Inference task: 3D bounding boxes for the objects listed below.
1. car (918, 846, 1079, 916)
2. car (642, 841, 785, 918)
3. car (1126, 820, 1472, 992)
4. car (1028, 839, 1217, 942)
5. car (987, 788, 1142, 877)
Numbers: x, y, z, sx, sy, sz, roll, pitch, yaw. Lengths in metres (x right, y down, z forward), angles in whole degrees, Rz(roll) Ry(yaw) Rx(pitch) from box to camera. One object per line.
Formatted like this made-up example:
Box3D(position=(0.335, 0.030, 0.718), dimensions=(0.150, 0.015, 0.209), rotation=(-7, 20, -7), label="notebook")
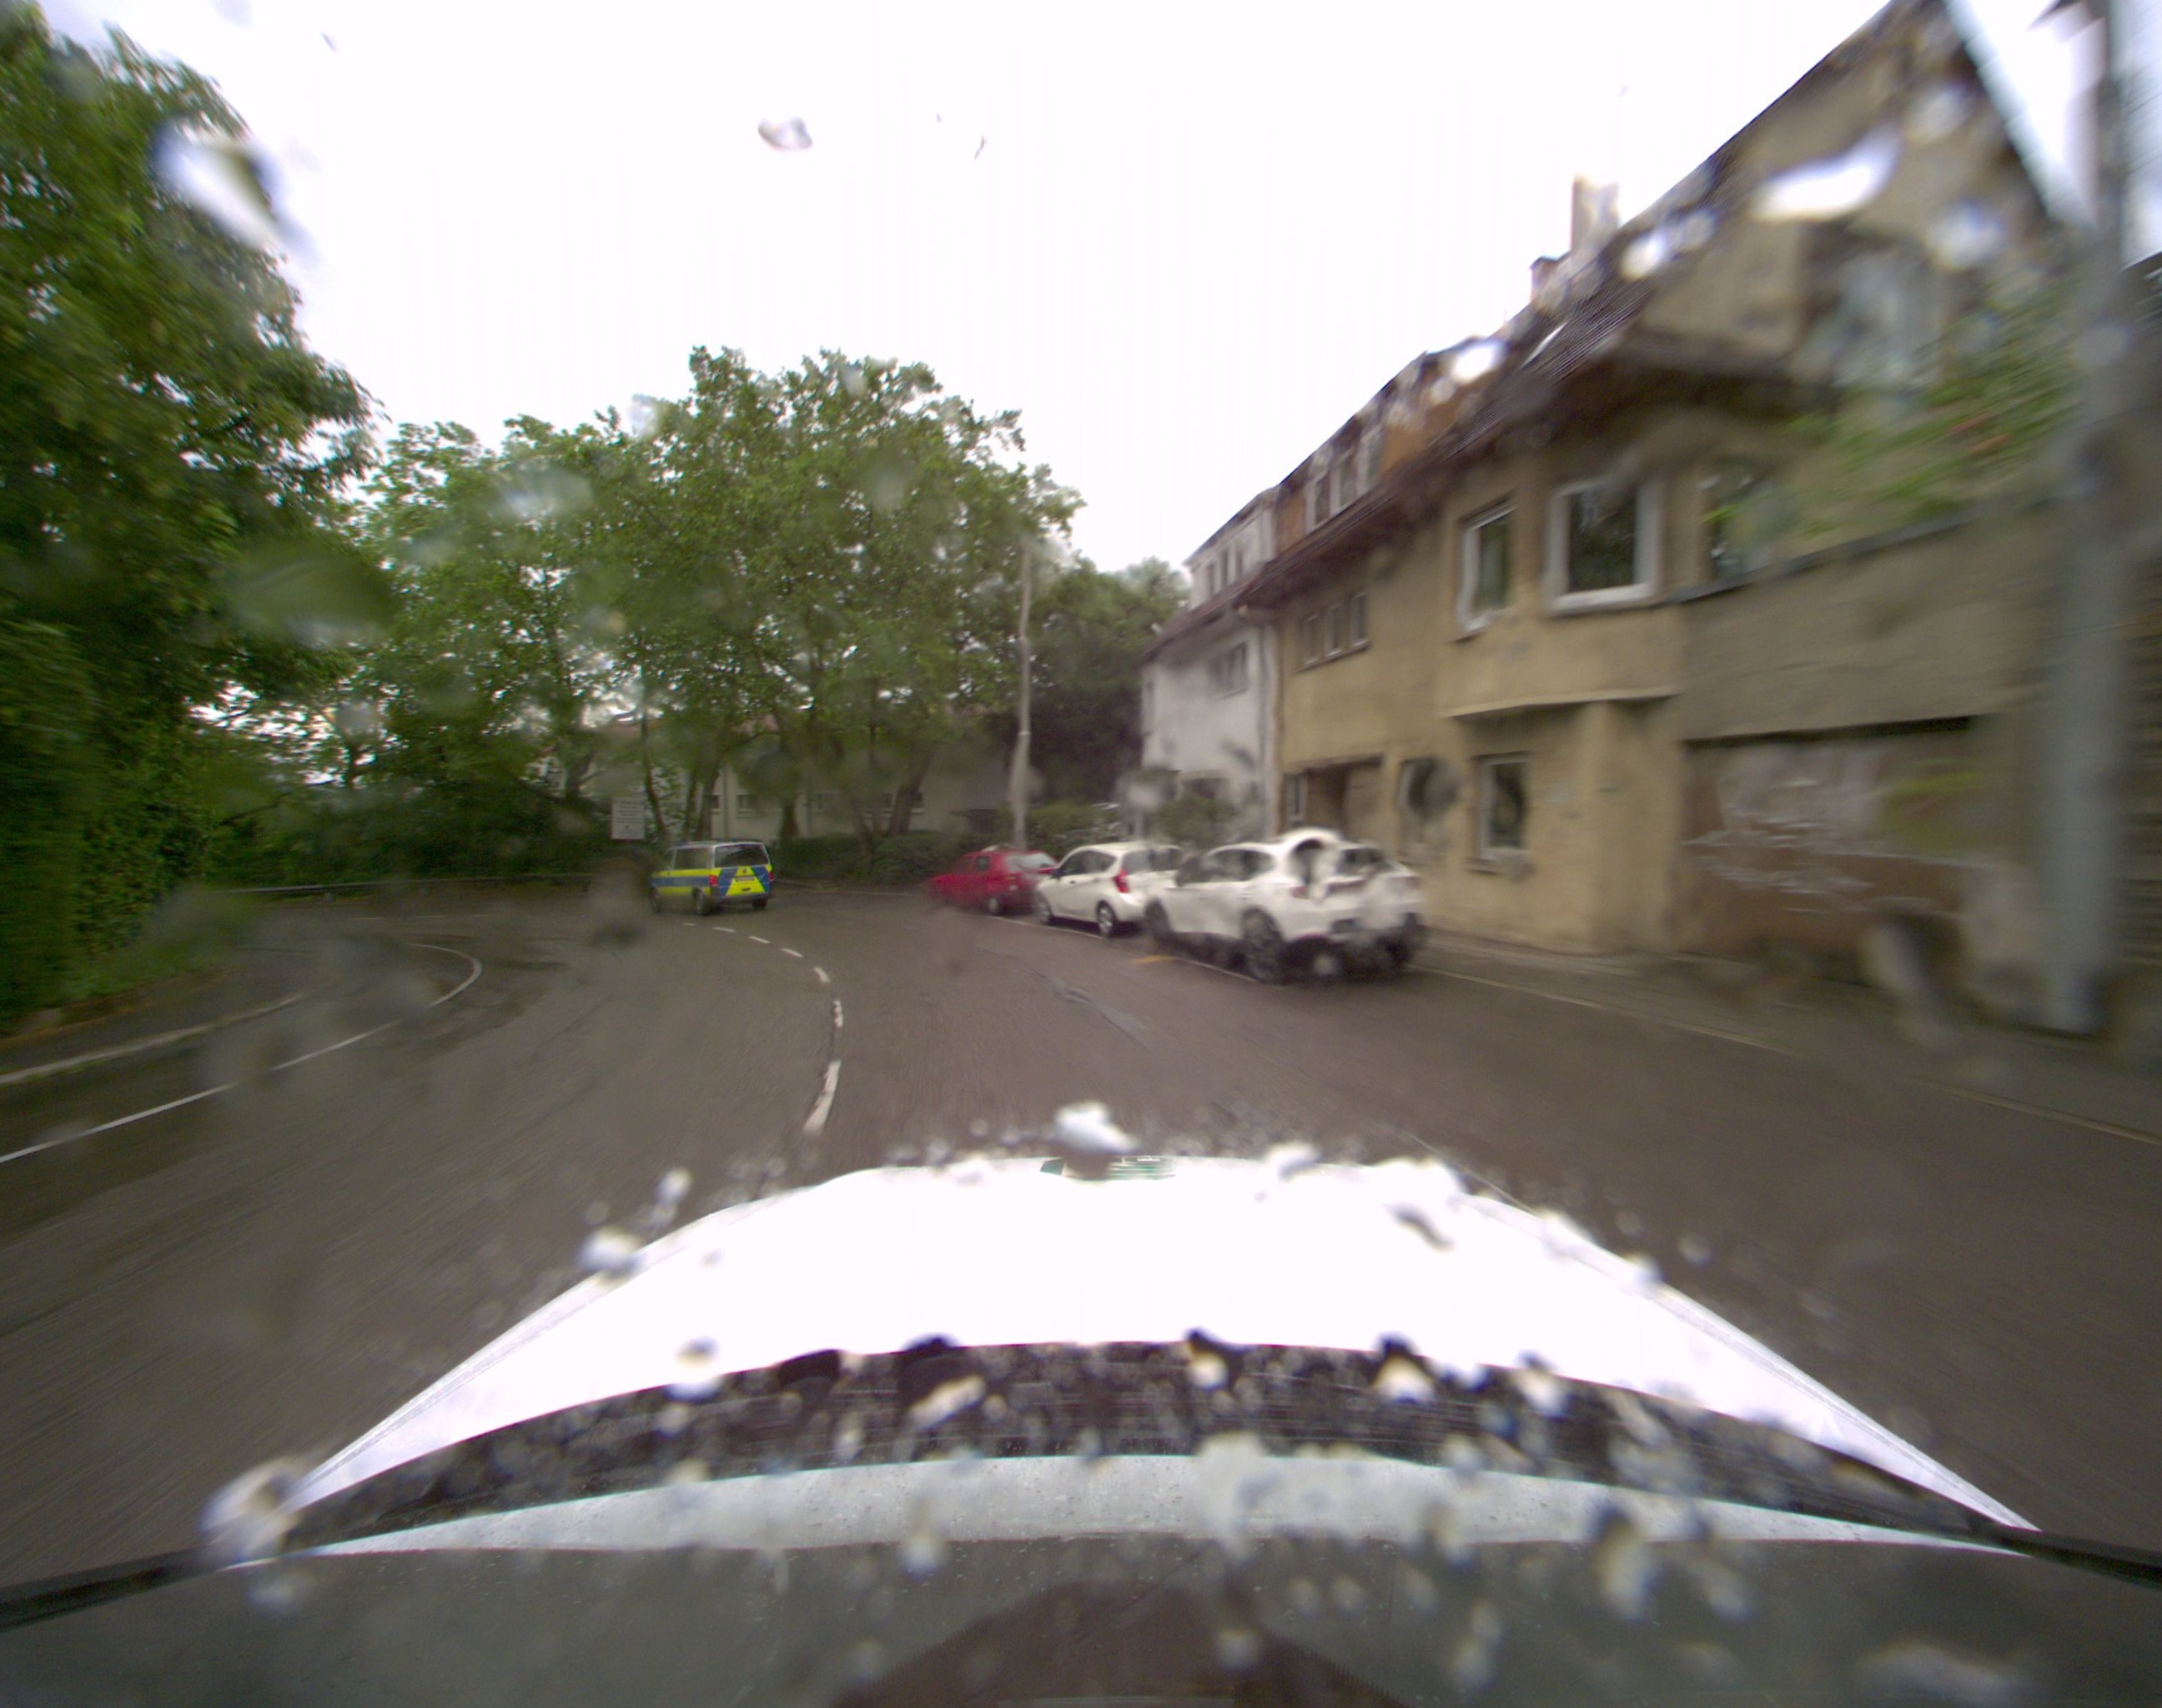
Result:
Box3D(position=(-2.036, 0.615, 19.067), dimensions=(1.794, 1.367, 4.148), rotation=(-3, 0, -37), label="car")
Box3D(position=(-10.649, 0.699, 23.445), dimensions=(4.512, 1.893, 2.013), rotation=(-1, 3, 42), label="car")
Box3D(position=(2.328, 0.512, 10.056), dimensions=(1.920, 1.538, 4.385), rotation=(-3, 0, -20), label="car")
Box3D(position=(0.595, 0.562, 14.613), dimensions=(1.774, 1.515, 3.792), rotation=(-3, 1, -25), label="car")
Box3D(position=(-0.566, -0.705, 25.575), dimensions=(4.396, 1.842, 1.995), rotation=(-12, 4, -8), label="car")
